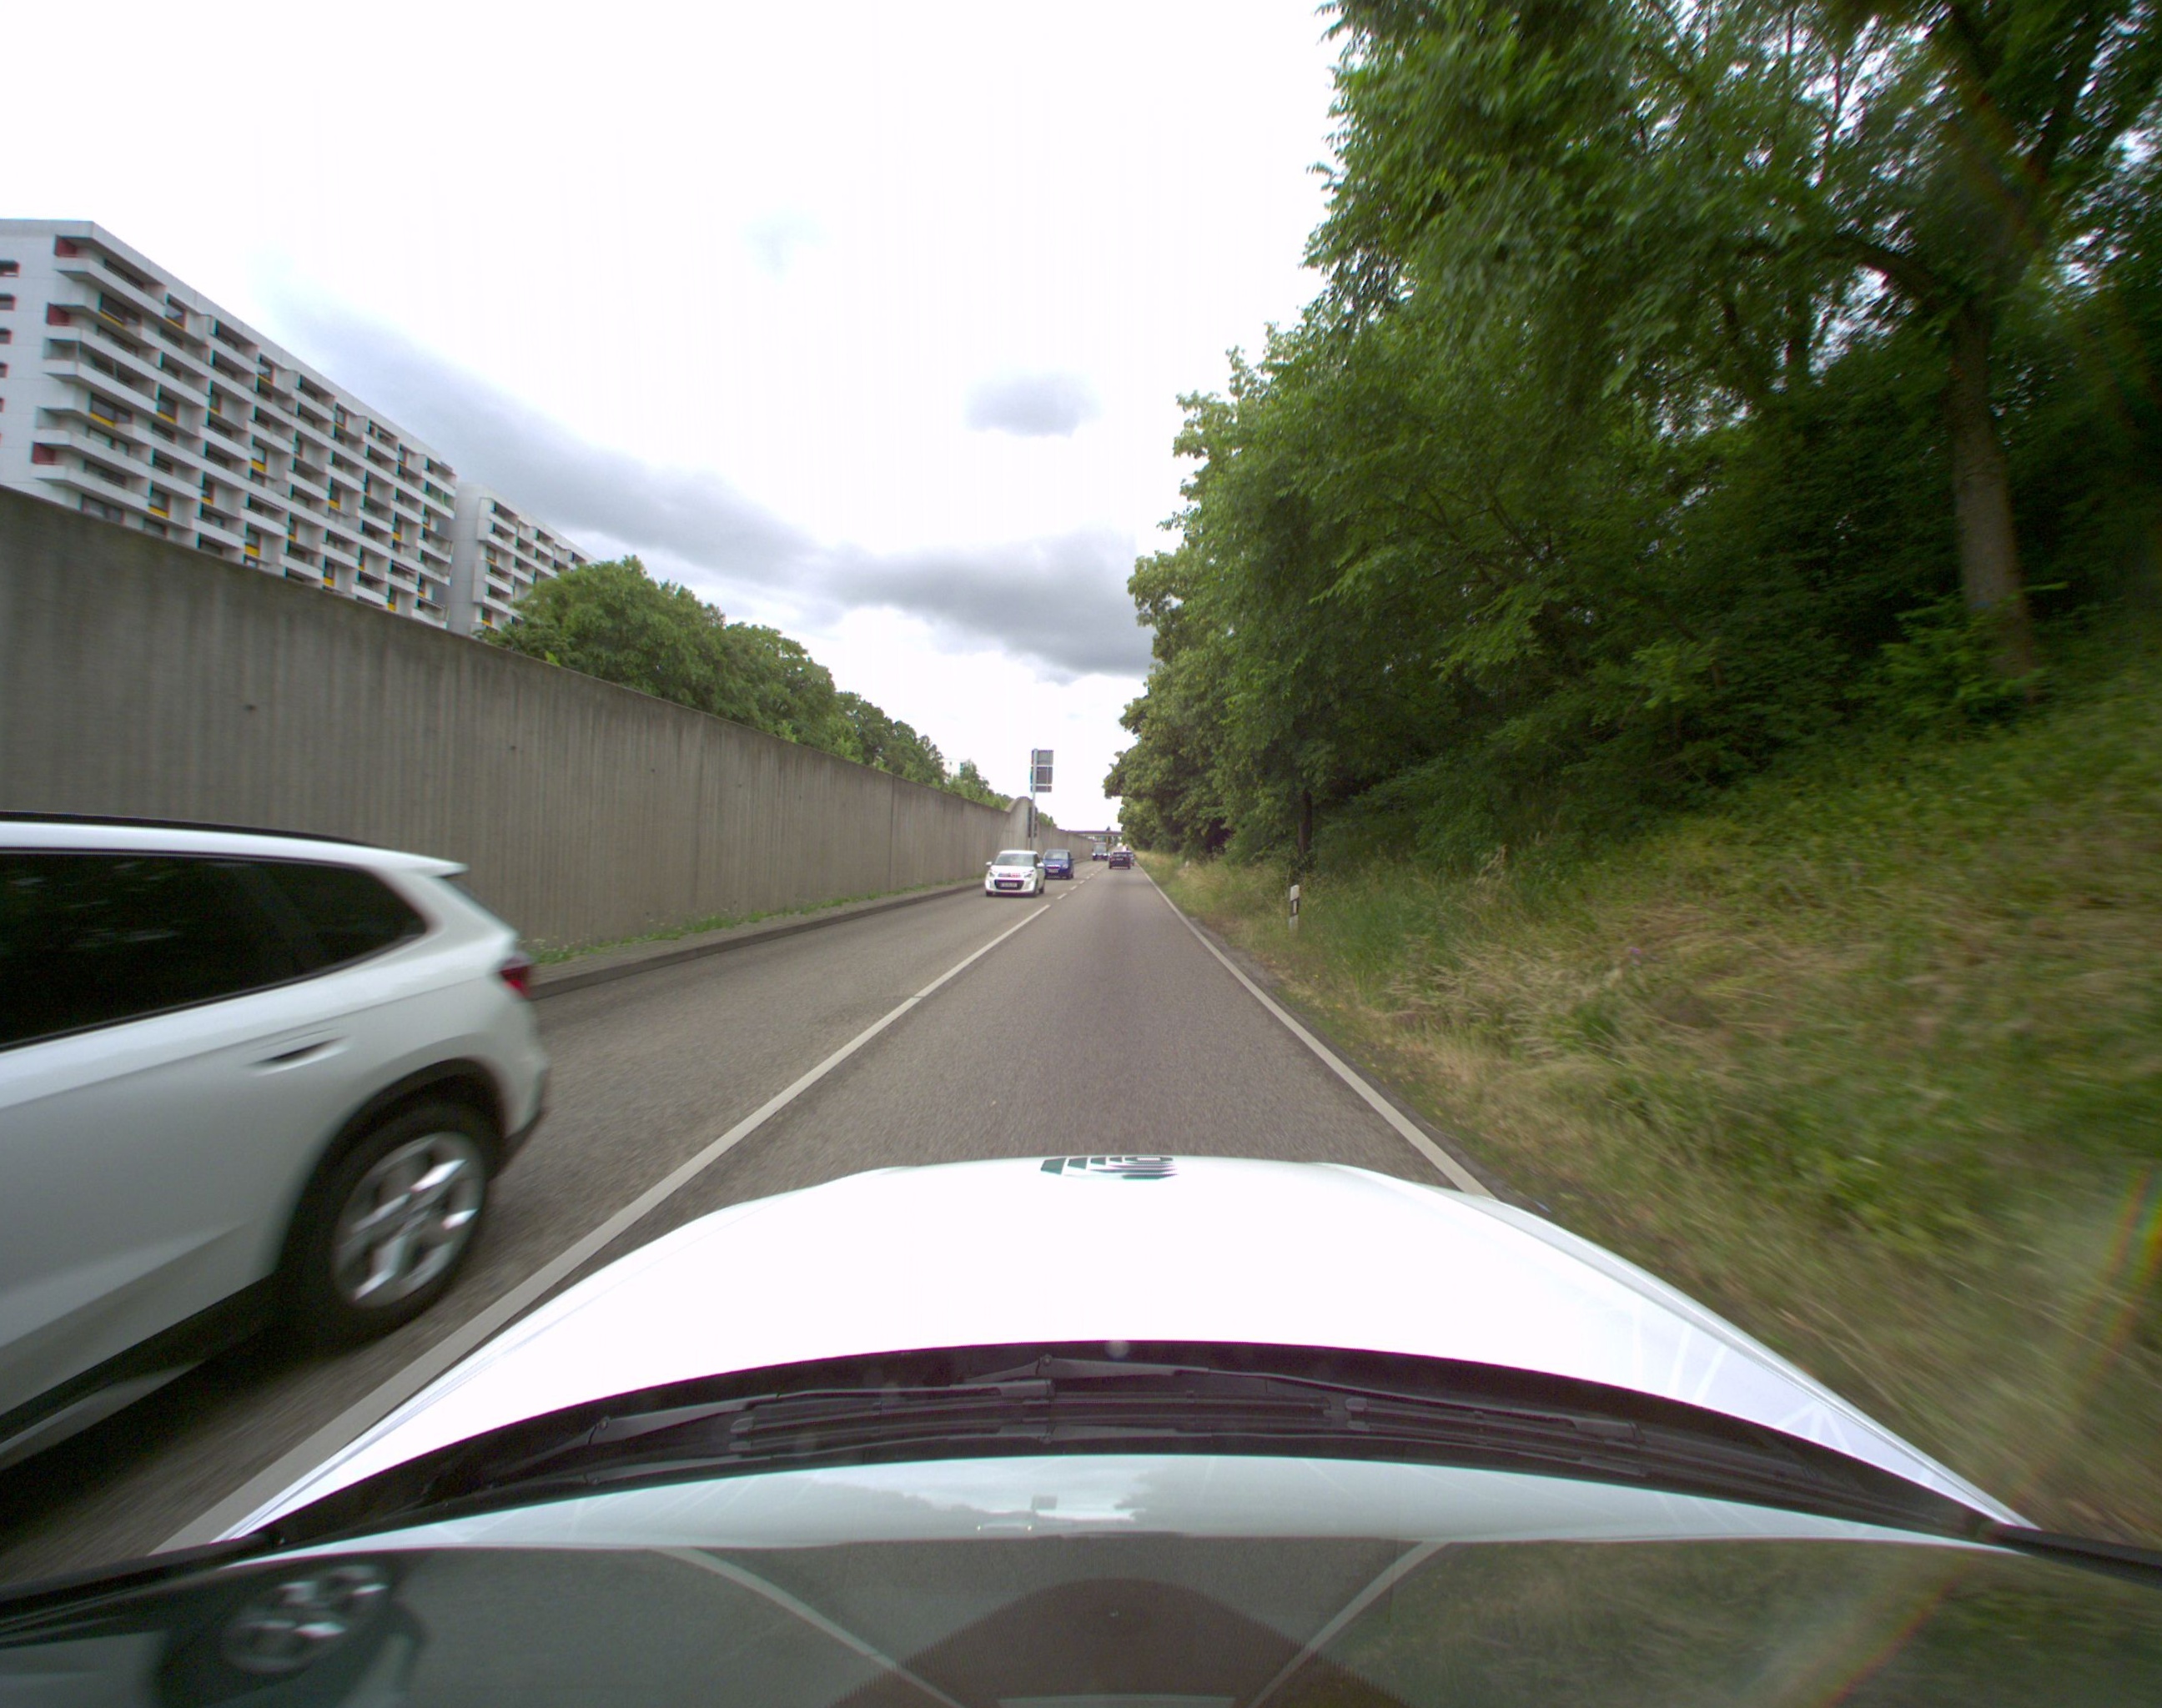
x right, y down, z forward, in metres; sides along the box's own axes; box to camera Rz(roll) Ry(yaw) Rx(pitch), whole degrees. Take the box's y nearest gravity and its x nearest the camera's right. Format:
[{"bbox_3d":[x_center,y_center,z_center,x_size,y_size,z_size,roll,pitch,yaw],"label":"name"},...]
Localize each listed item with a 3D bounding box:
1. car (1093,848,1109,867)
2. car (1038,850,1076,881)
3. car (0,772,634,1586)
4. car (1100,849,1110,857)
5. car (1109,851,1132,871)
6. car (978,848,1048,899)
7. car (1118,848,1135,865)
[{"bbox_3d":[2.916,0.500,116.616,2.101,2.630,7.423,1,0,3],"label":"car"},{"bbox_3d":[-1.218,0.574,42.396,1.761,1.495,4.208,1,0,1],"label":"car"},{"bbox_3d":[-3.096,0.630,1.532,1.883,1.632,4.429,1,0,2],"label":"car"},{"bbox_3d":[4.553,-0.105,153.663,1.884,1.483,4.827,1,0,3],"label":"car"},{"bbox_3d":[3.218,0.604,66.856,1.747,1.524,4.037,2,-2,2],"label":"car"},{"bbox_3d":[-2.161,0.594,26.991,1.909,1.495,4.208,1,0,1],"label":"car"},{"bbox_3d":[4.670,0.285,83.556,1.747,1.523,4.039,-1,-2,3],"label":"car"}]
